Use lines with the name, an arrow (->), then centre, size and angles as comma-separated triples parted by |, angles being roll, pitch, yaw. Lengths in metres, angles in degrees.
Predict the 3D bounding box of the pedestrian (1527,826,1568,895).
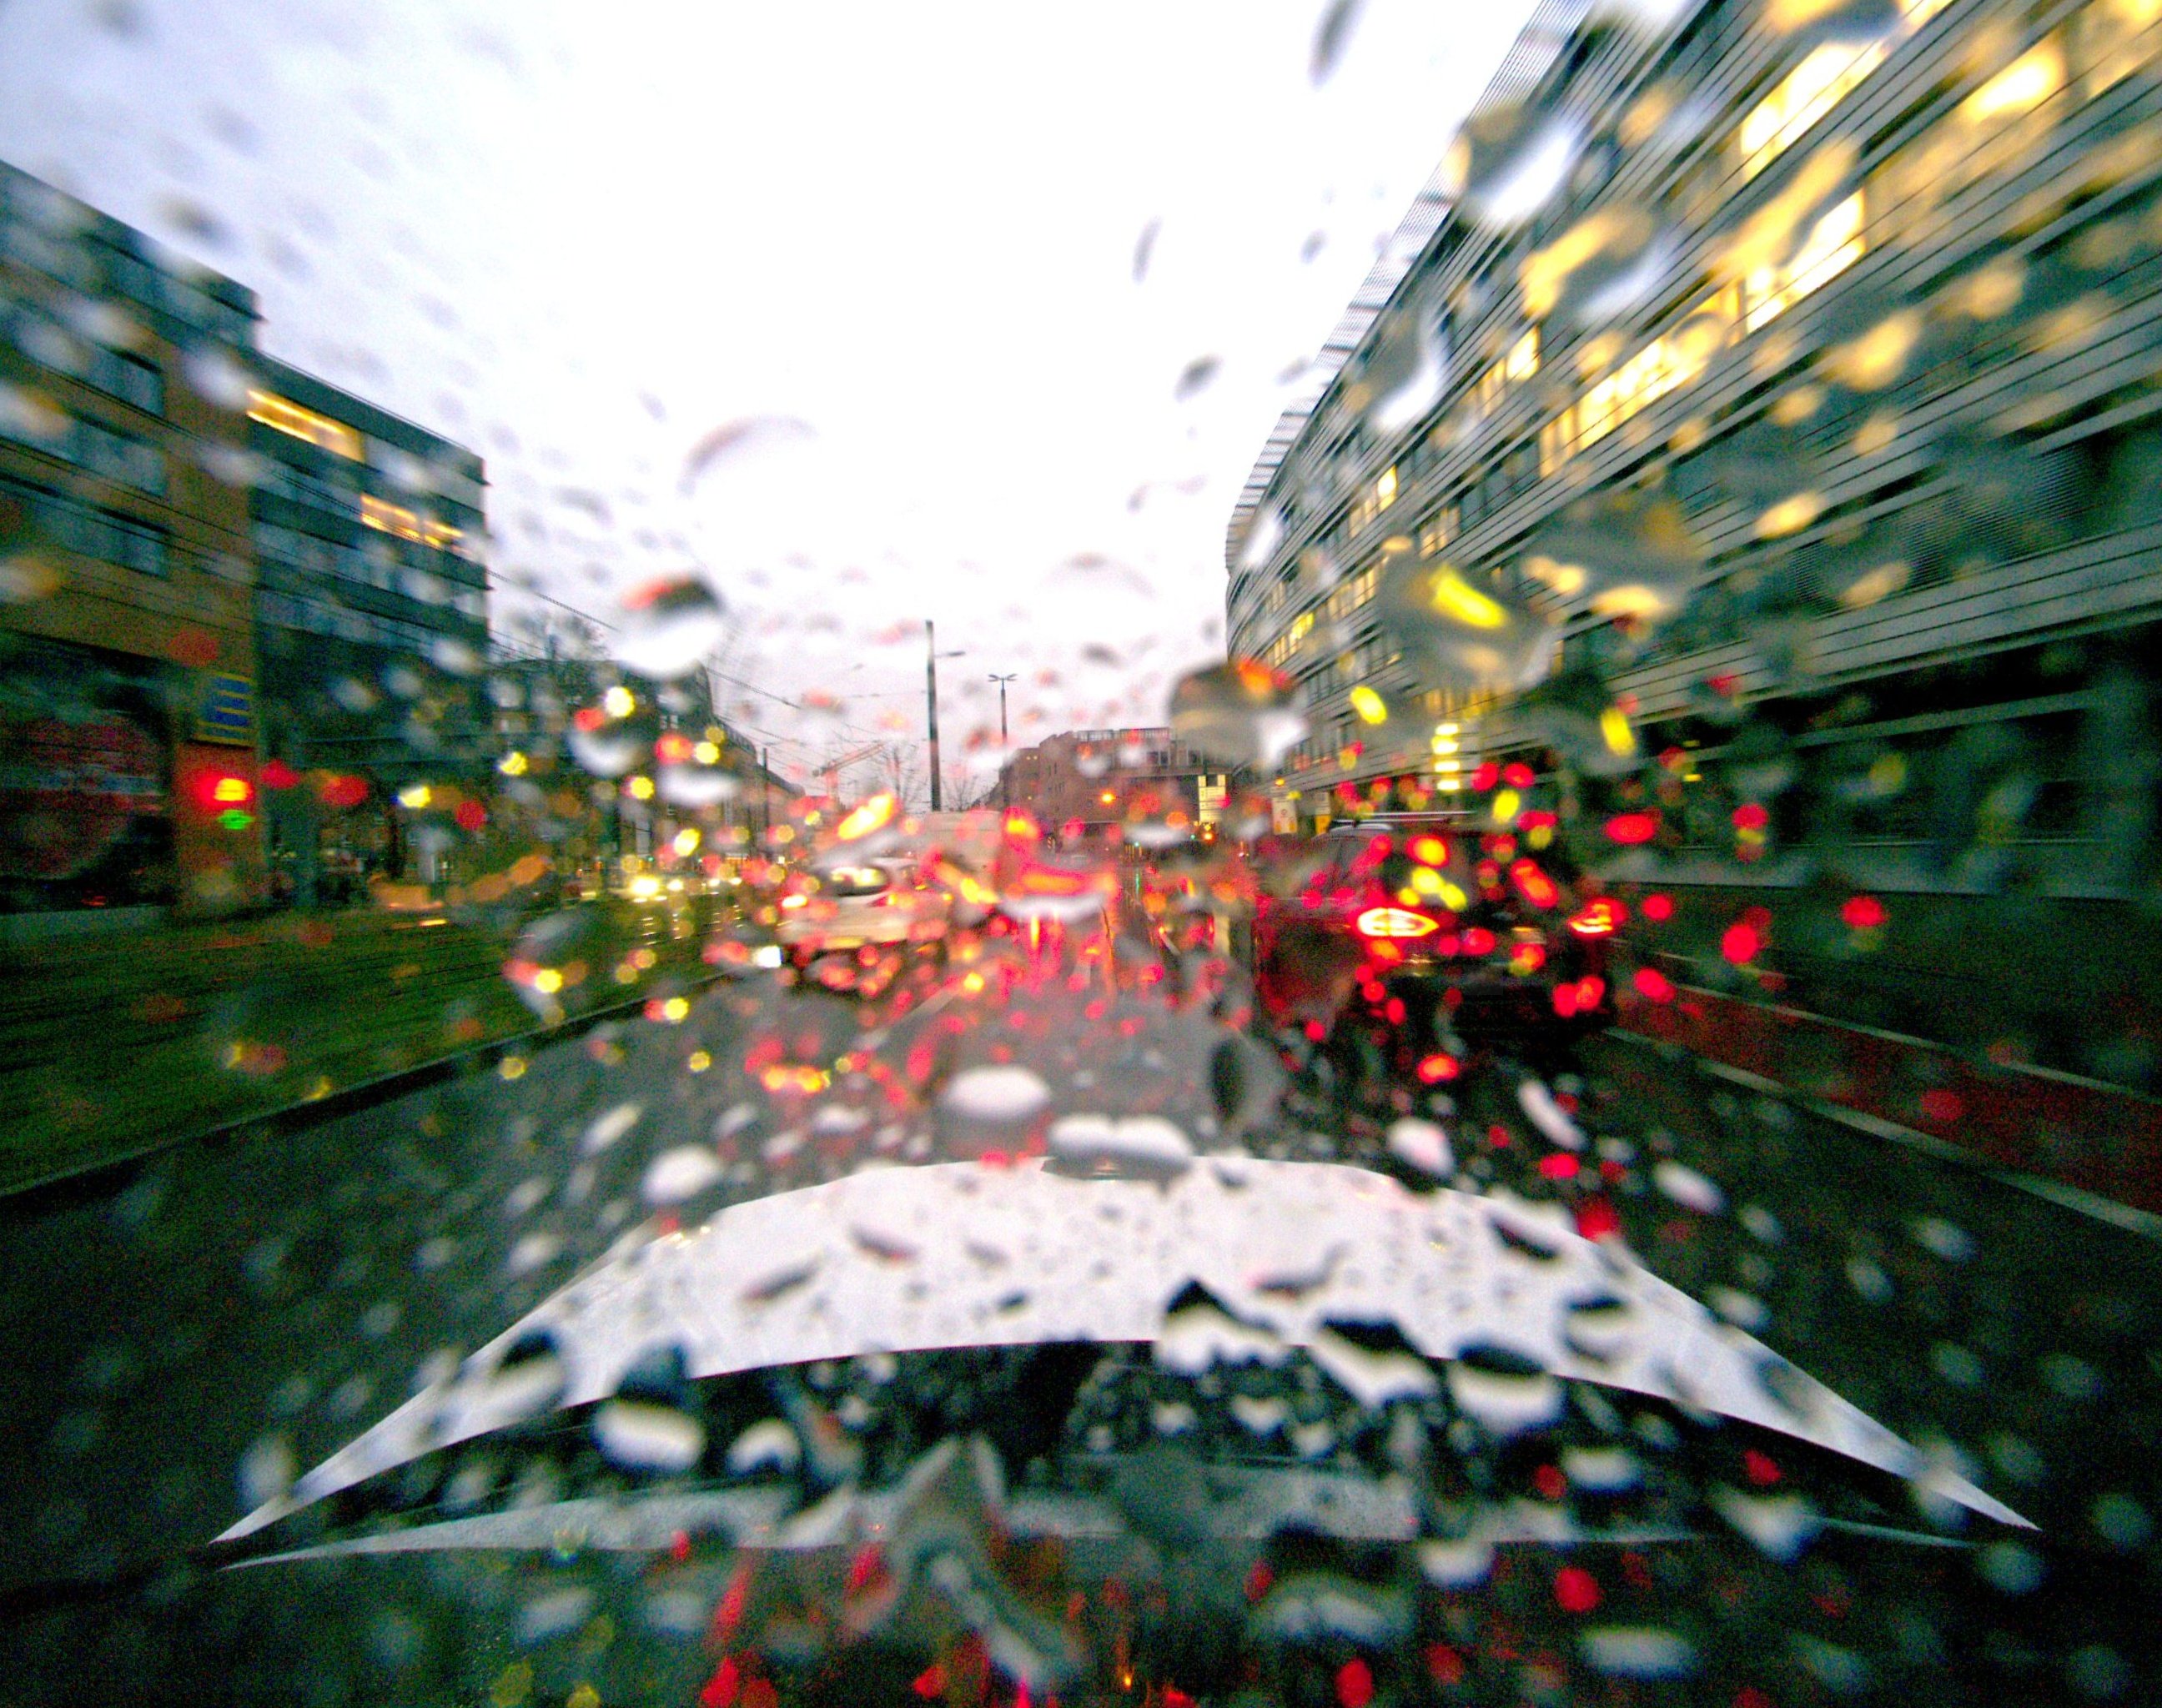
pedestrian -> 11.695, 0.162, 20.431 | 0.529, 1.683, 0.745 | -2, 0, 1

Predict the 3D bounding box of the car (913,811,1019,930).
car -> -2.630, 0.356, 20.042 | 1.989, 2.427, 5.967 | -2, 0, -3

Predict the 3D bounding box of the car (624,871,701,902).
car -> -22.011, 1.676, 43.060 | 1.989, 1.449, 4.310 | -2, 0, -3

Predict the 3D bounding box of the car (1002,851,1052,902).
car -> -1.740, 0.726, 27.065 | 1.514, 1.520, 3.467 | -2, -1, -2

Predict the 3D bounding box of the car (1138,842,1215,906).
car -> 2.953, 0.581, 26.133 | 1.838, 1.806, 4.485 | -2, 0, -1

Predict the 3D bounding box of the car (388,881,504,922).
car -> -26.166, 1.911, 33.776 | 1.630, 1.449, 4.410 | -2, 0, -5

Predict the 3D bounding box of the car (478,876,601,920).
car -> -20.449, 1.608, 30.991 | 1.723, 1.393, 4.200 | -2, 0, 1

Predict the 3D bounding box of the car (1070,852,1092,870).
car -> 0.014, 0.545, 64.290 | 1.506, 1.305, 3.042 | -2, 0, 2

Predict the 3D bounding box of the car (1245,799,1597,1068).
car -> 2.671, 0.538, 7.447 | 1.667, 1.779, 4.002 | -1, 0, 2

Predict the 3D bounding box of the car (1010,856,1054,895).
car -> -2.039, 0.876, 34.515 | 1.701, 1.508, 3.996 | -1, 0, -2

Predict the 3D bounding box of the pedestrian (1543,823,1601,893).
pedestrian -> 12.393, 0.101, 20.585 | 0.790, 1.686, 1.069 | -2, 0, 1

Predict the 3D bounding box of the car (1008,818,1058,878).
car -> -2.453, -0.273, 43.067 | 2.349, 2.827, 6.354 | -2, 0, -2

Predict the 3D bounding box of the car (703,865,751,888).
car -> -24.233, 1.527, 55.870 | 1.626, 1.449, 3.622 | -2, 0, 1

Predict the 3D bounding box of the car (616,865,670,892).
car -> -29.899, 1.645, 55.748 | 1.626, 1.692, 3.622 | -2, 0, 1

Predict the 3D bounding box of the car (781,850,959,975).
car -> -2.922, 0.722, 12.060 | 1.633, 1.496, 3.684 | -2, 0, 0

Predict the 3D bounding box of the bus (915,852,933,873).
bus -> -26.060, 1.445, 135.056 | 2.825, 3.372, 7.967 | -2, 0, -12

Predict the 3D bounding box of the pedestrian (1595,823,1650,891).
pedestrian -> 13.516, 0.068, 20.332 | 0.723, 1.625, 0.902 | -2, 0, 1
